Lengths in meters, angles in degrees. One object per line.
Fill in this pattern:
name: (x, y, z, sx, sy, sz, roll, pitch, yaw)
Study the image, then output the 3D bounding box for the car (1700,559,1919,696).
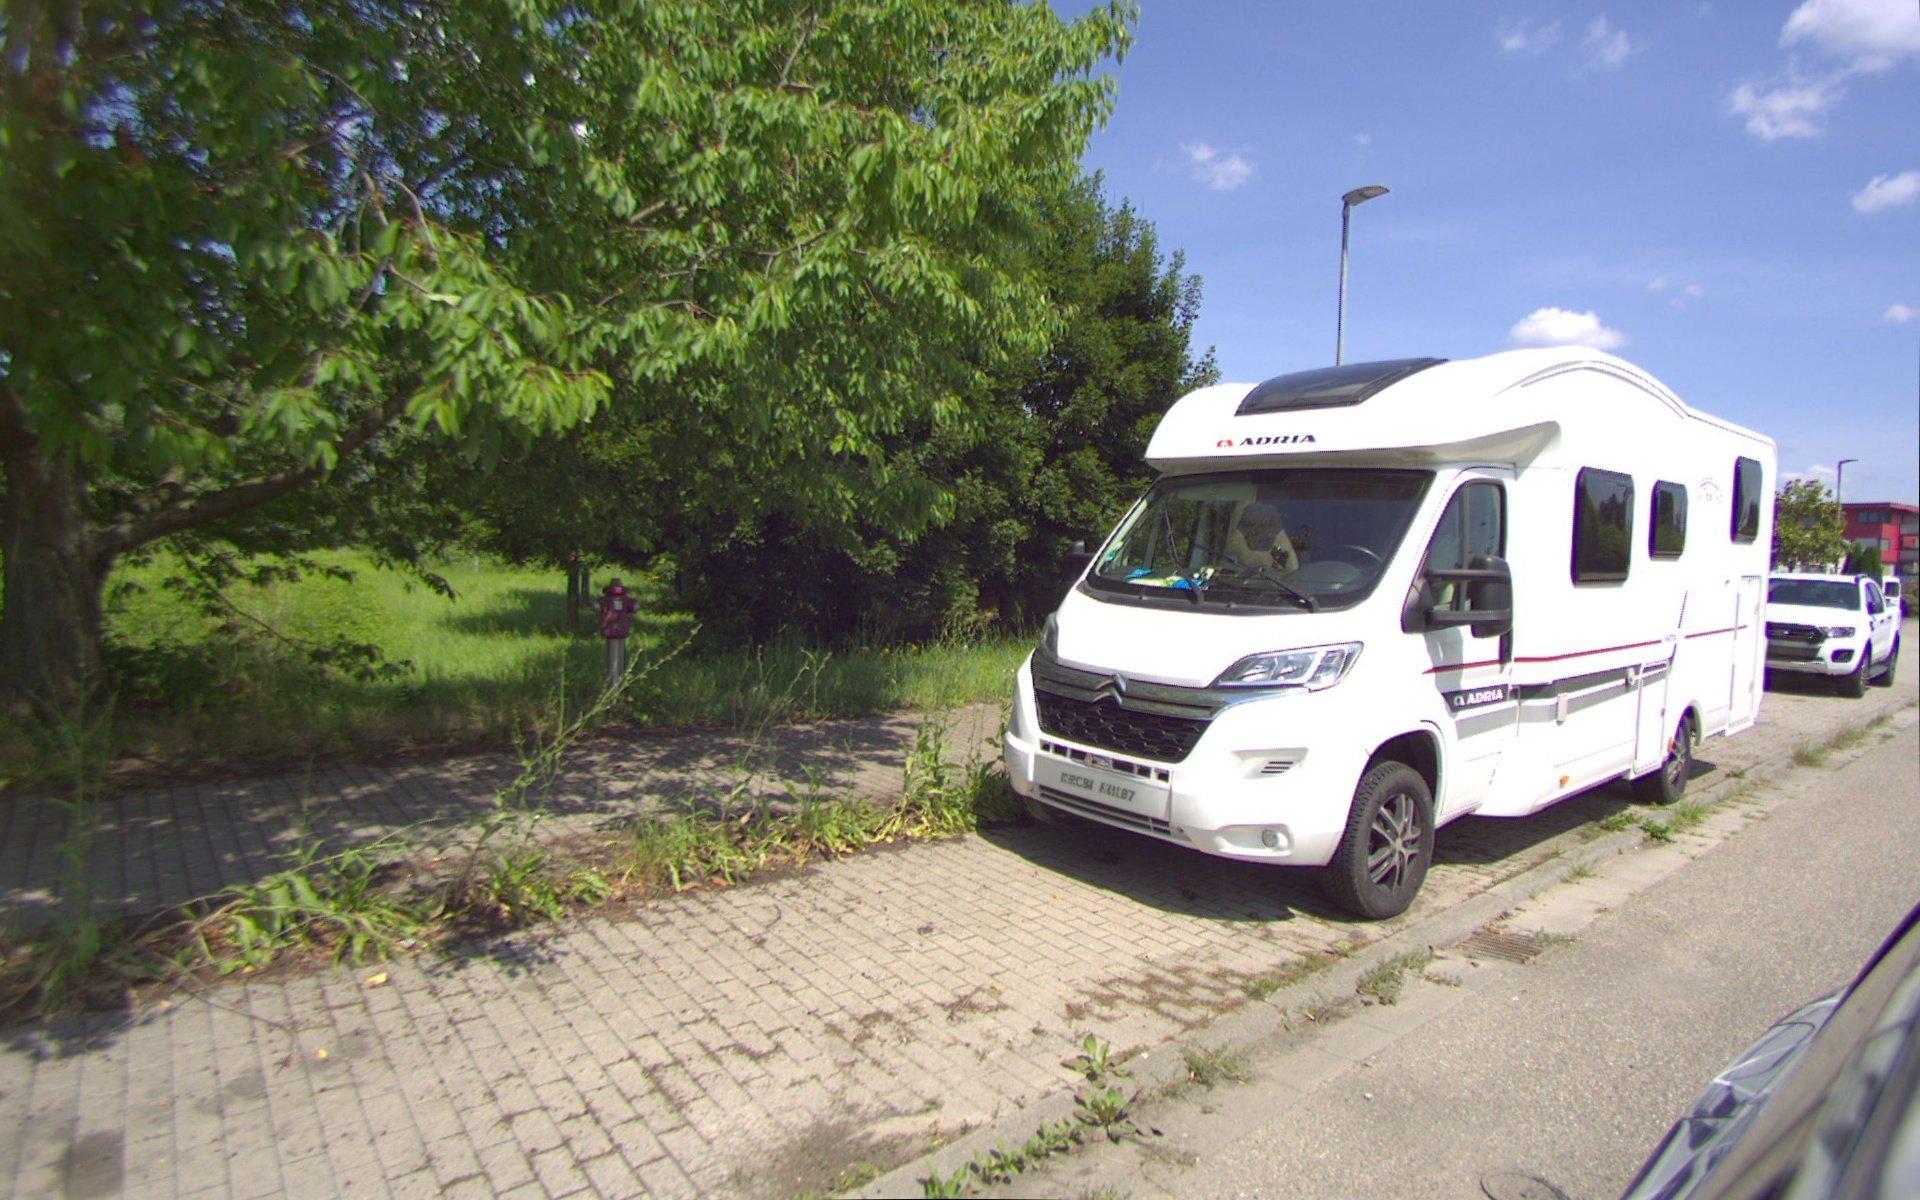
car: (13.917, 0.342, 16.417, 5.330, 1.836, 1.852, 0, 4, -41)

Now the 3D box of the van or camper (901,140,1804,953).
van or camper: (3.349, -0.259, 6.953, 7.489, 2.860, 2.445, 0, 4, -41)

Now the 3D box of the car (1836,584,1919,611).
car: (58.646, -0.152, 64.005, 1.684, 1.505, 4.606, 0, 3, -39)

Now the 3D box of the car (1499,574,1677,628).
car: (19.469, -0.018, 31.572, 1.937, 1.437, 4.287, 1, 3, -31)

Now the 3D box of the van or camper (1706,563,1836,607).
van or camper: (50.515, -0.954, 63.195, 2.091, 2.467, 5.851, 1, 3, -30)

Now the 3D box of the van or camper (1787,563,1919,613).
van or camper: (50.118, -0.733, 56.933, 1.959, 2.565, 5.119, 1, 3, -27)

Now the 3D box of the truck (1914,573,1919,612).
truck: (69.273, -0.457, 70.638, 5.669, 2.721, 2.388, 1, 3, -32)
